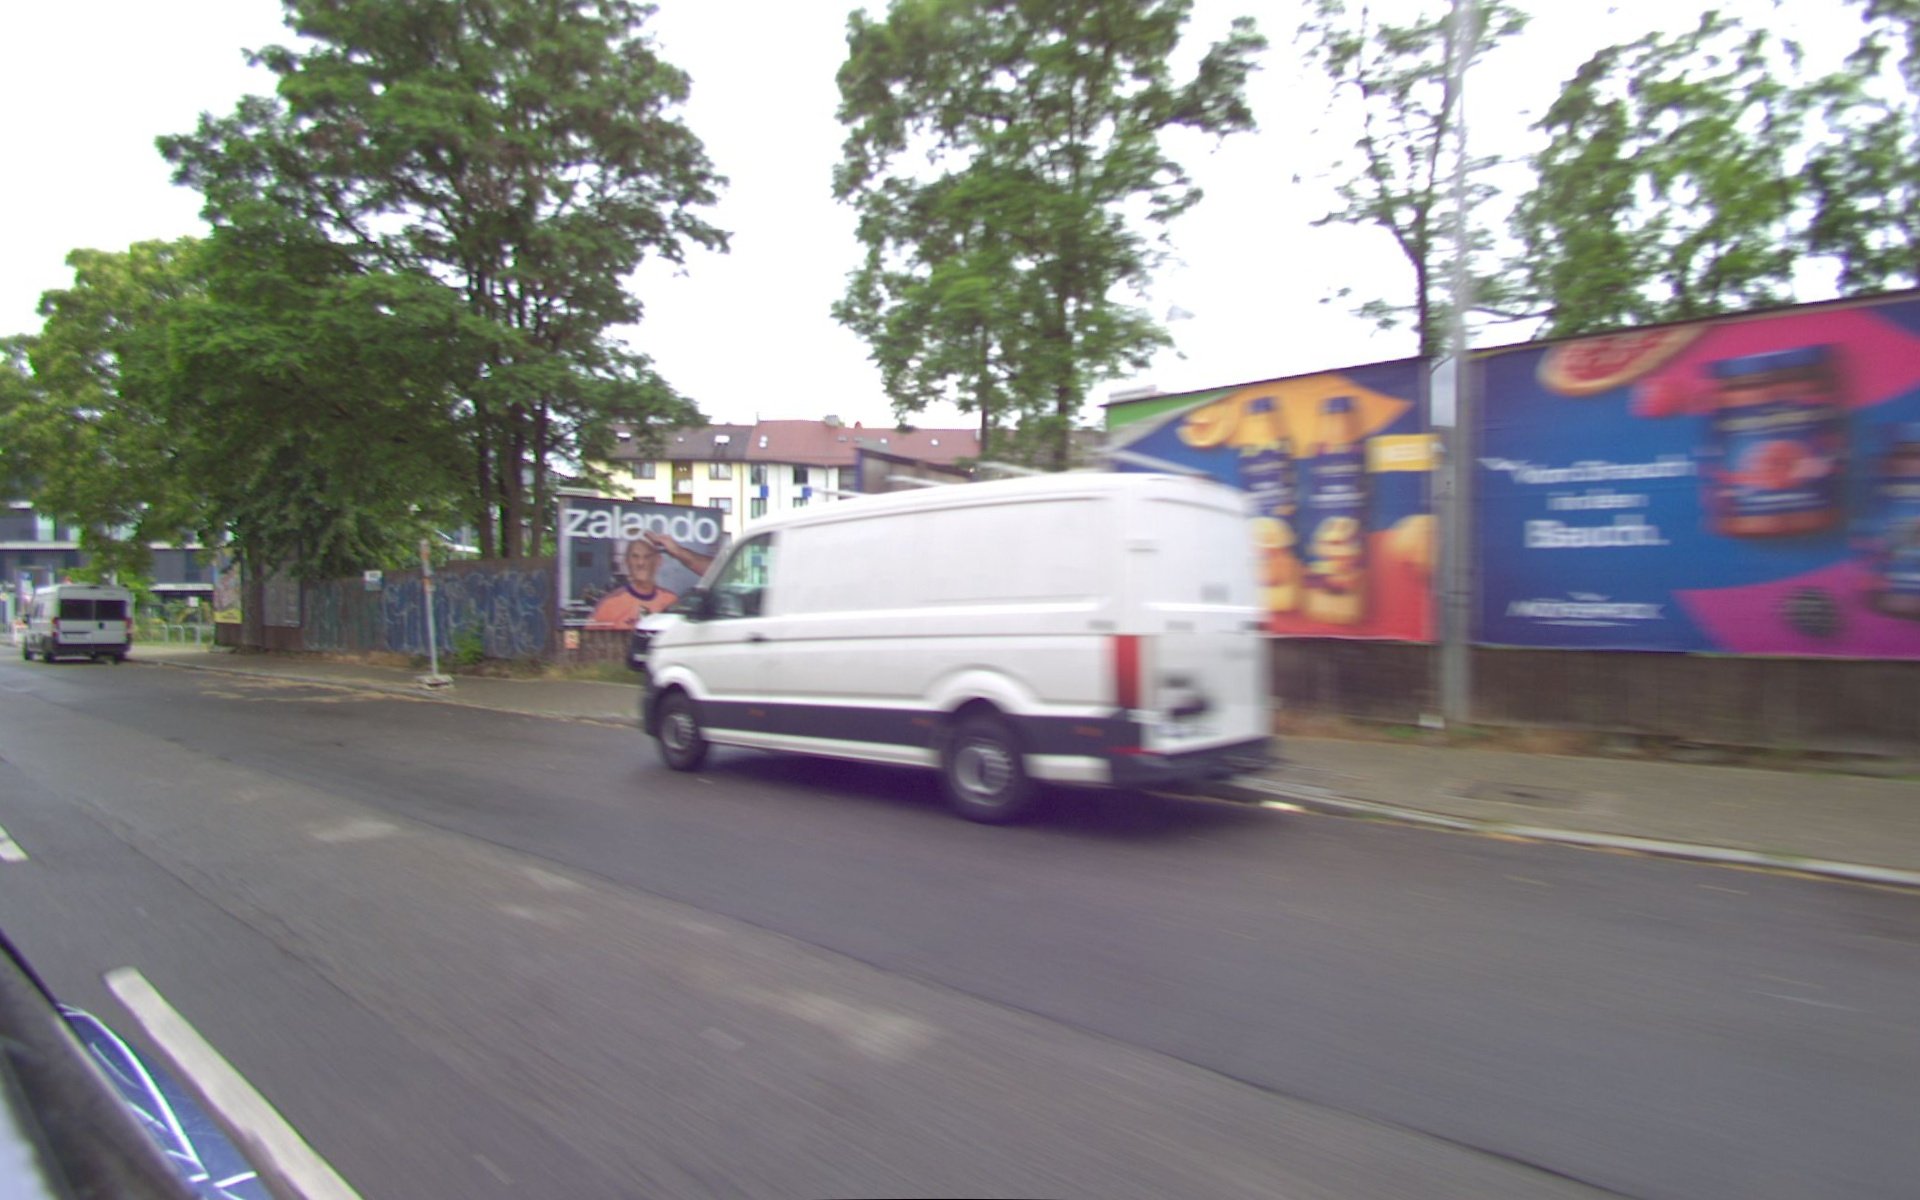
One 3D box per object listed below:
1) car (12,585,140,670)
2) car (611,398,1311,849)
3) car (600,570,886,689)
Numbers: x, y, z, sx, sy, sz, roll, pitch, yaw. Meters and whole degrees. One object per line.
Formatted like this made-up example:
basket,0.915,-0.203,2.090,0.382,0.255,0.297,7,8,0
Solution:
car,-29.781,0.923,34.000,6.532,2.598,2.207,-1,-2,40
car,-0.421,0.192,8.373,5.981,2.506,1.990,-1,-2,42
car,-4.097,0.574,20.083,2.143,2.025,5.446,-1,-2,38
